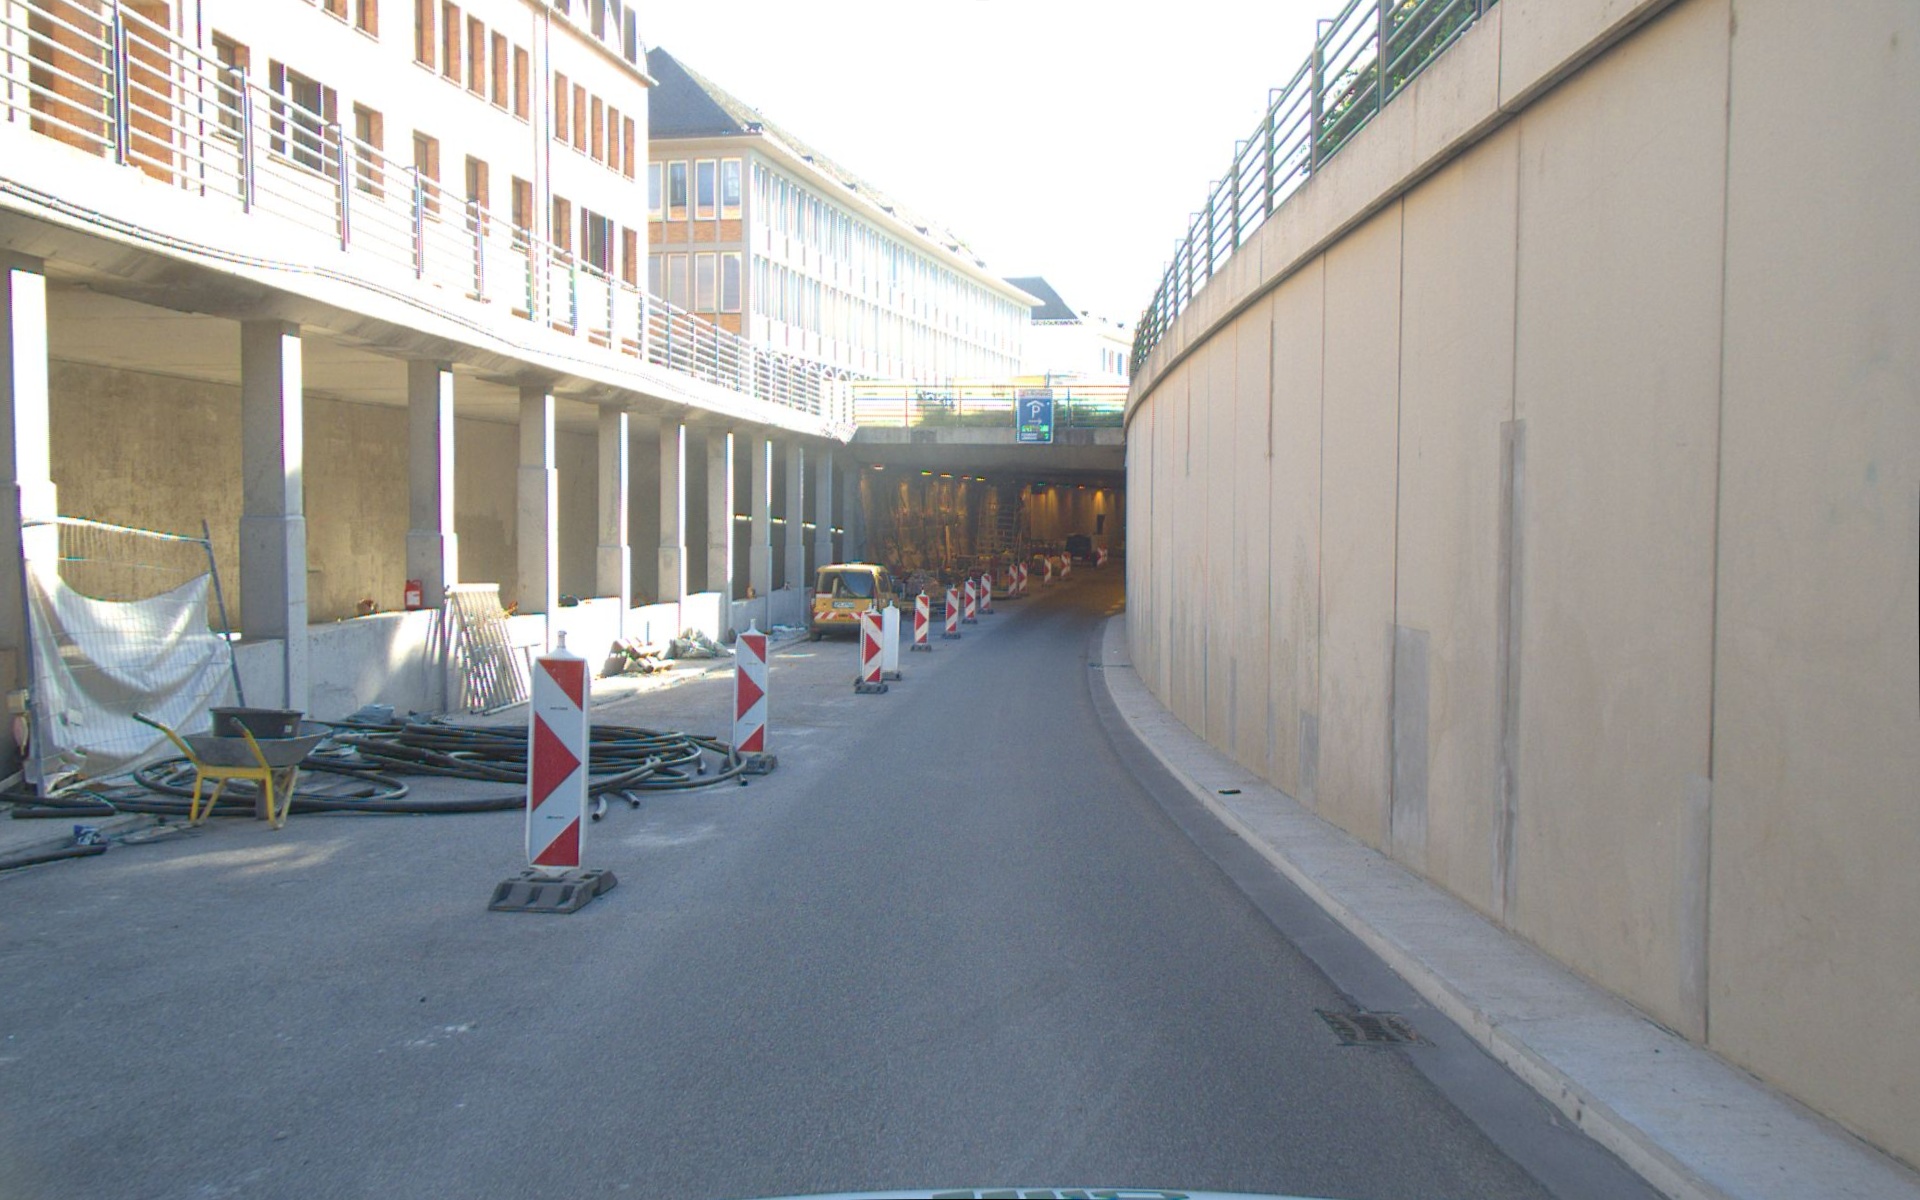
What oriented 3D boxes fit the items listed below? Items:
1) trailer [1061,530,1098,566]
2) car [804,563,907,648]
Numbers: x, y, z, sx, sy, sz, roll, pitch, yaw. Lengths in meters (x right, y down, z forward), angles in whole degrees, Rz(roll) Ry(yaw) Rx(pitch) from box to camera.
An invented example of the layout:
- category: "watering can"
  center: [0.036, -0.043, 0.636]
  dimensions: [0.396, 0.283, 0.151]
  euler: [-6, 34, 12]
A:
- category: "trailer"
  center: [6.517, -2.857, 90.237]
  dimensions: [1.547, 1.829, 2.943]
  euler: [2, 3, 12]
- category: "car"
  center: [-2.478, 0.072, 40.249]
  dimensions: [1.809, 1.806, 4.438]
  euler: [1, 3, 5]
